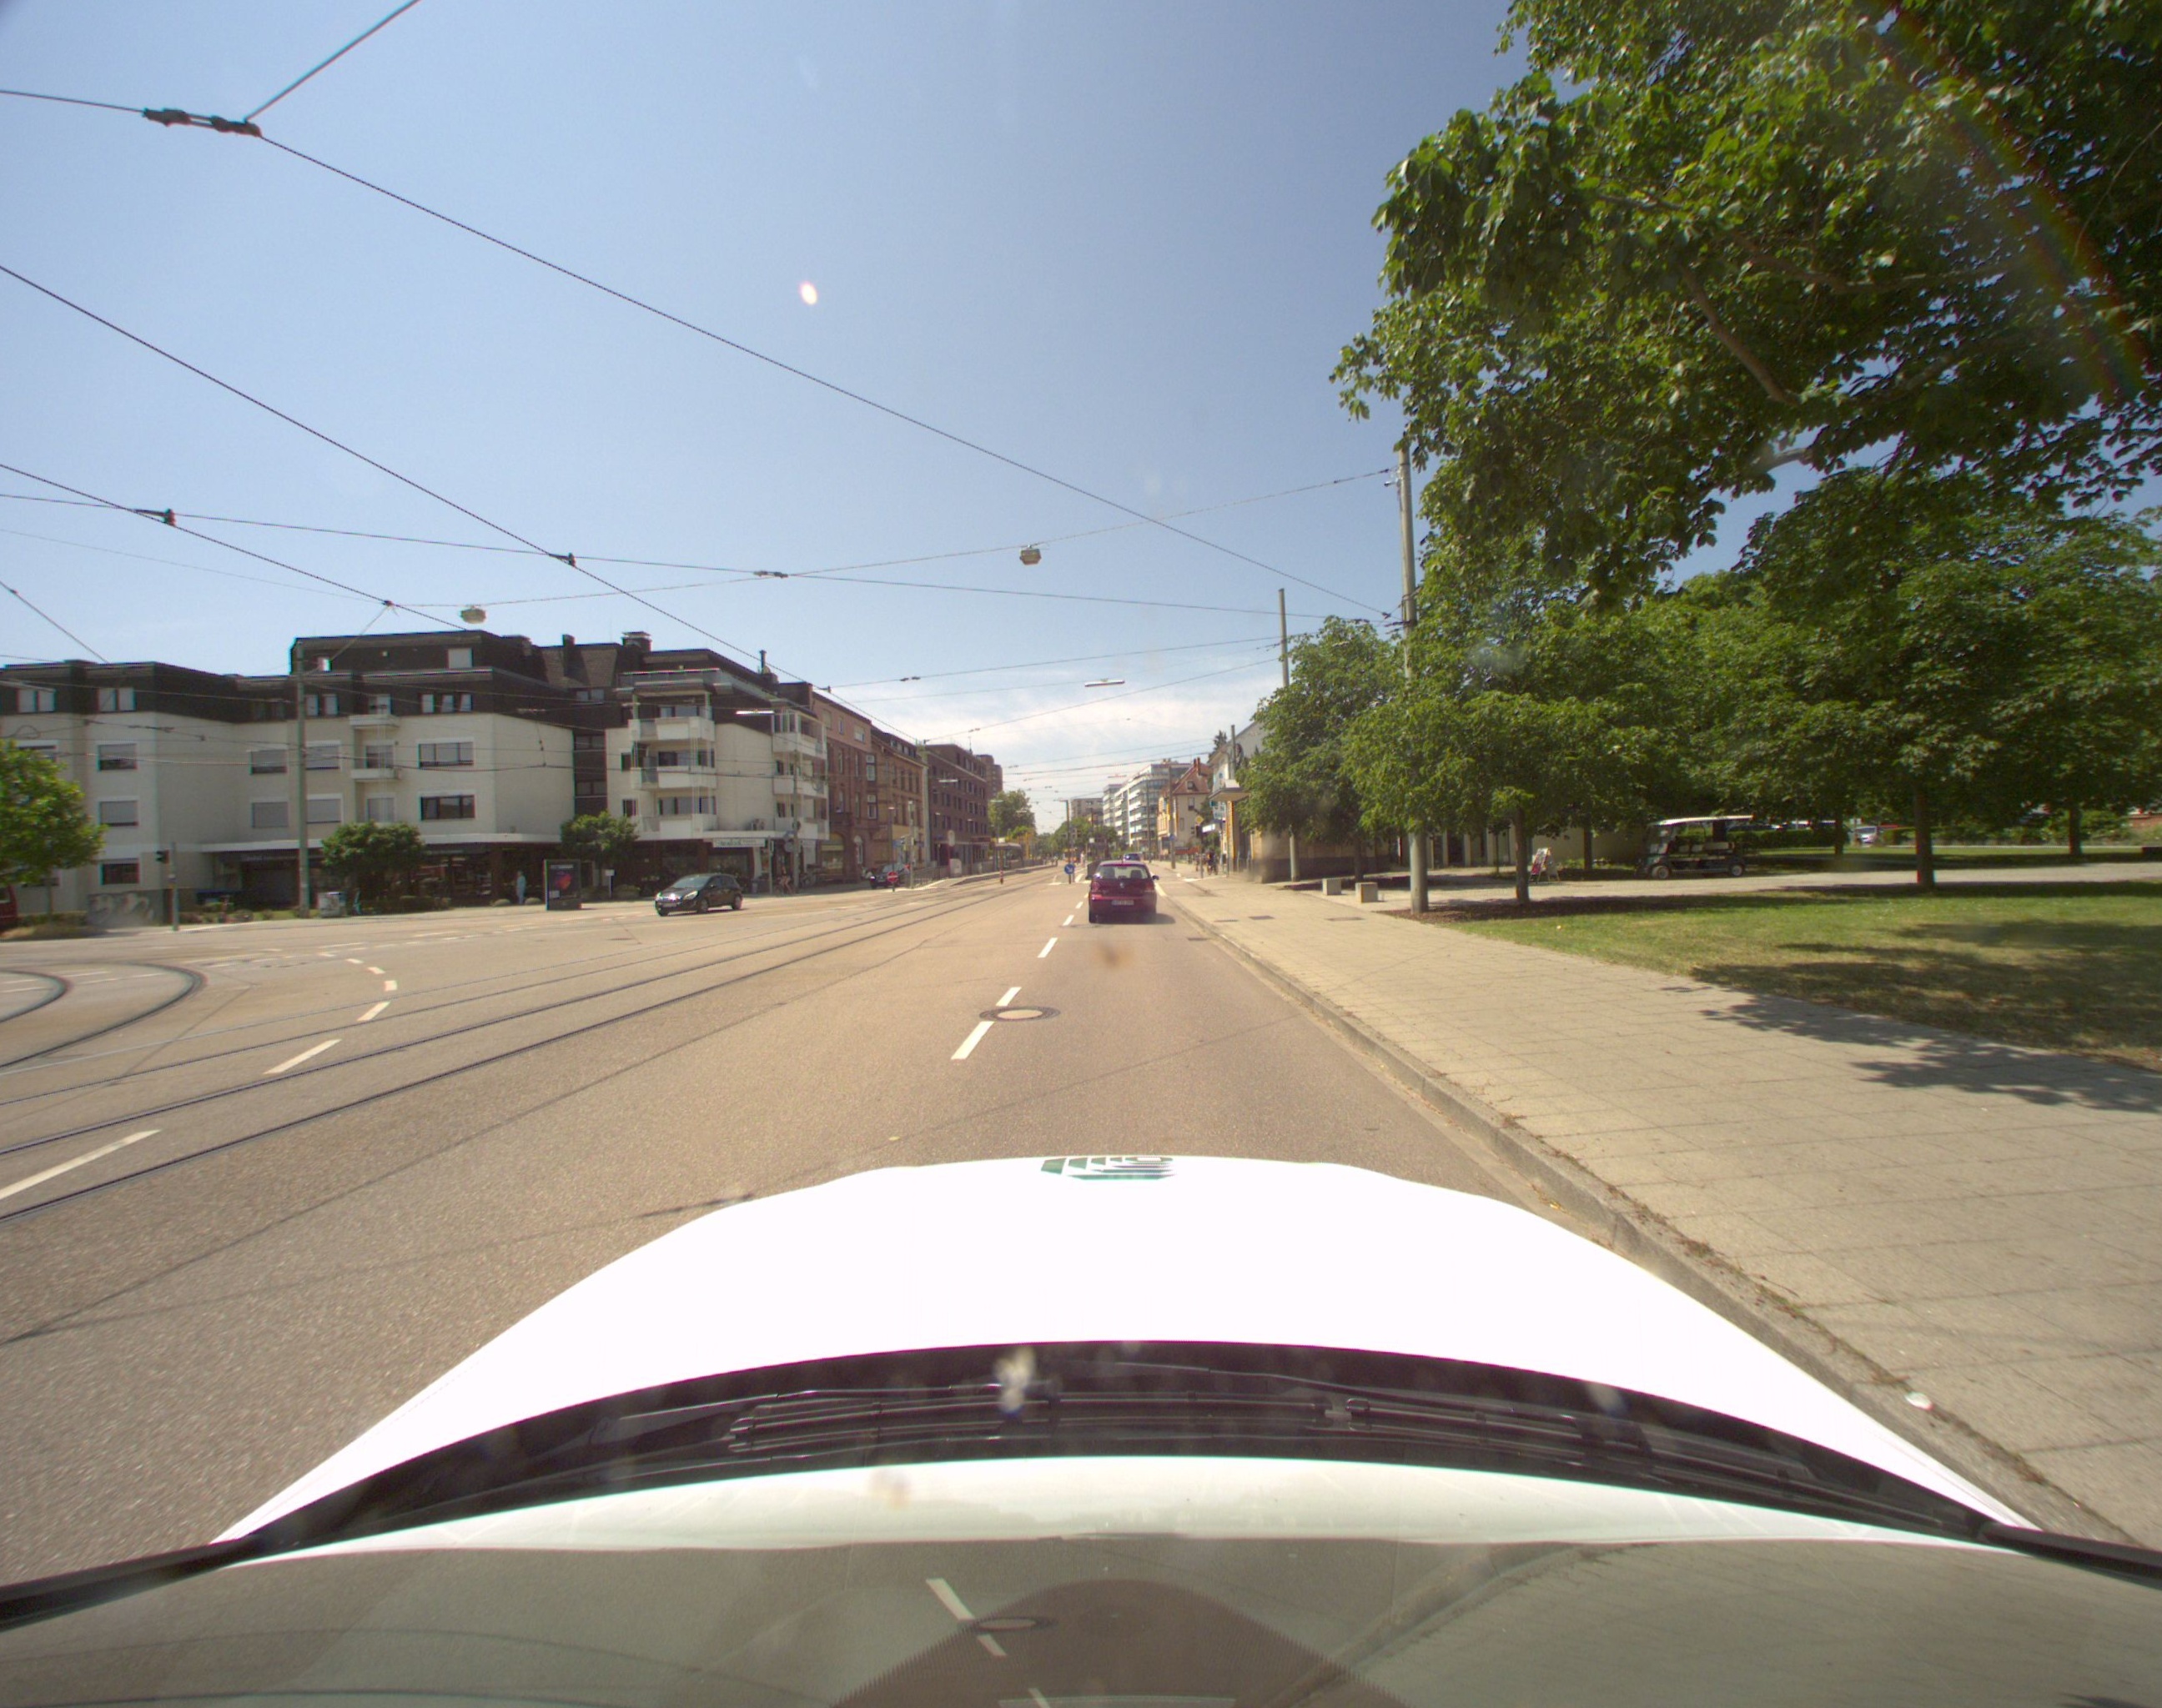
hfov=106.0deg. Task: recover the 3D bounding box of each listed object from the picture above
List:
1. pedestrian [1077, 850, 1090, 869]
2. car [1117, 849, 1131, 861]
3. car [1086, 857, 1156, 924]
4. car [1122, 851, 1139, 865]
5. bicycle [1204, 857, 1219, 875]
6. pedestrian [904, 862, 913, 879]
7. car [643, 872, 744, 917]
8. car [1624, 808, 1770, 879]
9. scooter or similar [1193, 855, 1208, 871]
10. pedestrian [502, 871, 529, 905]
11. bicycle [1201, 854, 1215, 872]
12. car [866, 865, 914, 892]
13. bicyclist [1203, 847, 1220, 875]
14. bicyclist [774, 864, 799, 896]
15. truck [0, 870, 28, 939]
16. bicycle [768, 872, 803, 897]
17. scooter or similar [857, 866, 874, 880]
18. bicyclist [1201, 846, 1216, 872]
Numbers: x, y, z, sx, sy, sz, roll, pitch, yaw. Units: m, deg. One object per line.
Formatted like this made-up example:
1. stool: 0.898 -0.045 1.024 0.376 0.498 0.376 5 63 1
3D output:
1. pedestrian: 0.225 0.522 74.228 0.757 1.674 1.105 -2 -1 17
2. car: 6.648 0.167 126.323 1.986 1.848 4.003 -3 0 2
3. car: 0.979 0.846 20.121 1.555 1.453 3.063 -2 0 2
4. car: 6.086 0.514 100.489 1.986 1.624 4.634 -2 0 2
5. bicycle: 8.166 0.743 51.067 0.665 1.002 1.866 -6 2 4
6. pedestrian: -16.237 1.590 76.499 0.612 1.560 0.641 -3 0 2
7. car: -14.482 1.483 30.682 1.702 1.438 3.870 -2 0 4
8. car: 19.259 -0.301 25.544 3.317 2.014 1.465 -3 -2 3
9. scooter or similar: 8.812 0.646 60.044 0.340 1.178 1.457 -2 -1 -21
10. pedestrian: -29.309 1.776 42.207 0.694 1.696 0.811 -2 -1 15
11. bicycle: 8.954 0.638 57.390 0.372 1.197 1.916 -4 0 26
12. car: -12.889 1.634 55.243 1.785 1.579 4.501 -3 0 5
13. bicyclist: 8.188 0.429 51.017 0.828 1.617 0.861 -6 2 4
14. bicyclist: -16.725 1.477 46.312 0.726 1.762 1.140 -3 0 18
15. truck: -44.686 2.087 31.576 5.005 2.698 2.189 -3 0 3
16. bicycle: -16.749 1.696 46.196 0.671 1.304 2.115 -3 0 18
17. scooter or similar: -18.278 1.590 69.118 0.484 1.082 1.585 -3 0 20
18. bicyclist: 9.020 0.344 57.482 0.720 1.760 0.929 -3 0 26
